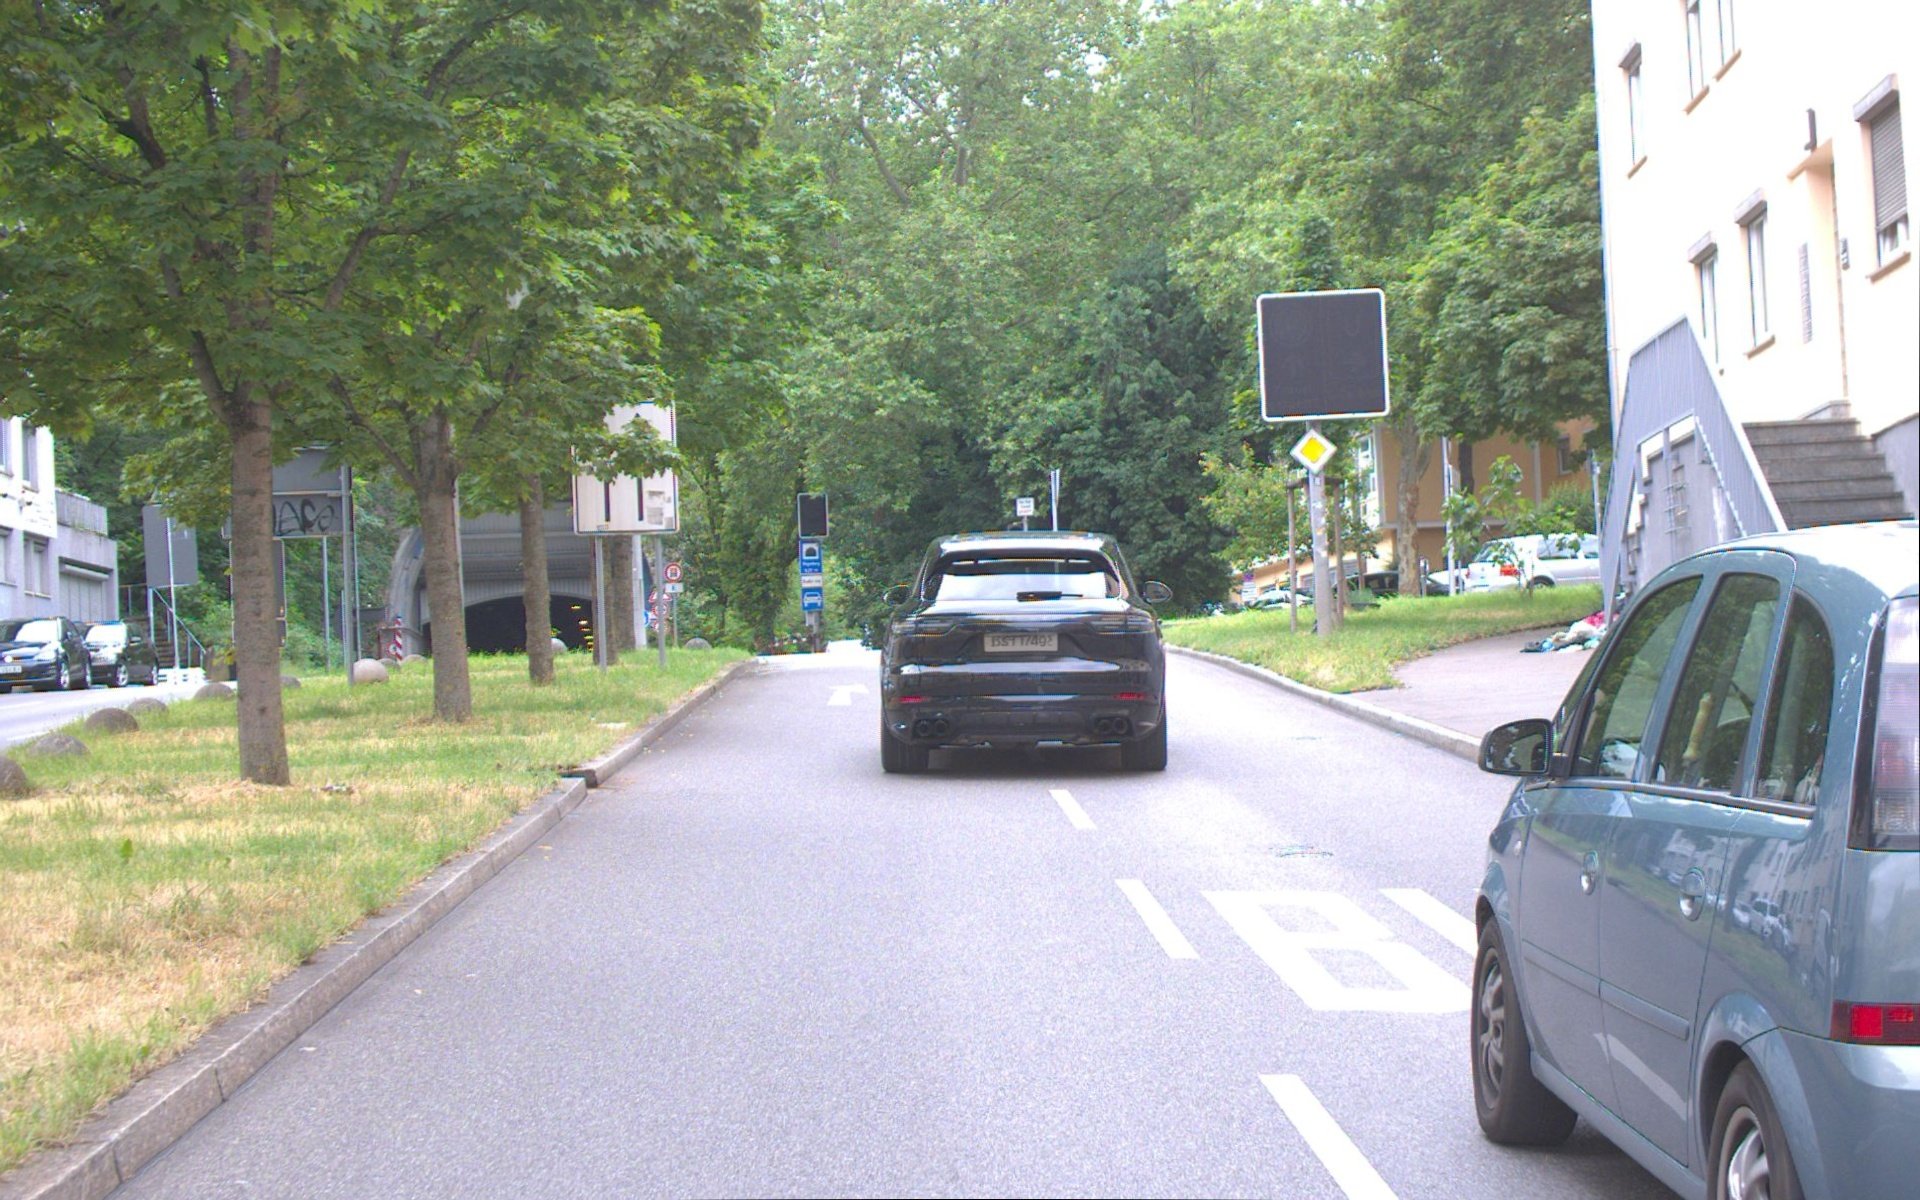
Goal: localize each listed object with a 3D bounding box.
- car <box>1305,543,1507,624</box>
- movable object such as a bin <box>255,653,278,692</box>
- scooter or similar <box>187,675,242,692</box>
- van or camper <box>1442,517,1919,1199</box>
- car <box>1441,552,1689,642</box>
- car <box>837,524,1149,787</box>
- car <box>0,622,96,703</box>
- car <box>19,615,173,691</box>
[{"bbox_3d":[8.990,-0.340,69.175,1.998,1.413,3.990,-3,0,44],"label":"car"},{"bbox_3d":[-17.415,1.828,86.302,0.515,0.964,0.444,1,-3,-16],"label":"movable object such as a bin"},{"bbox_3d":[-16.792,1.875,77.414,1.123,0.287,1.099,-3,-2,-16],"label":"scooter or similar"},{"bbox_3d":[2.208,0.632,7.426,1.735,1.572,3.646,0,0,-1],"label":"van or camper"},{"bbox_3d":[11.291,-0.059,64.233,4.116,1.423,1.863,-4,1,-20],"label":"car"},{"bbox_3d":[0.229,0.386,24.895,1.993,1.647,4.000,-3,0,0],"label":"car"},{"bbox_3d":[-17.517,1.160,64.185,1.993,1.418,4.212,-3,0,-5],"label":"car"},{"bbox_3d":[-17.419,1.062,69.523,1.993,1.396,4.518,-3,-1,-1],"label":"car"}]
